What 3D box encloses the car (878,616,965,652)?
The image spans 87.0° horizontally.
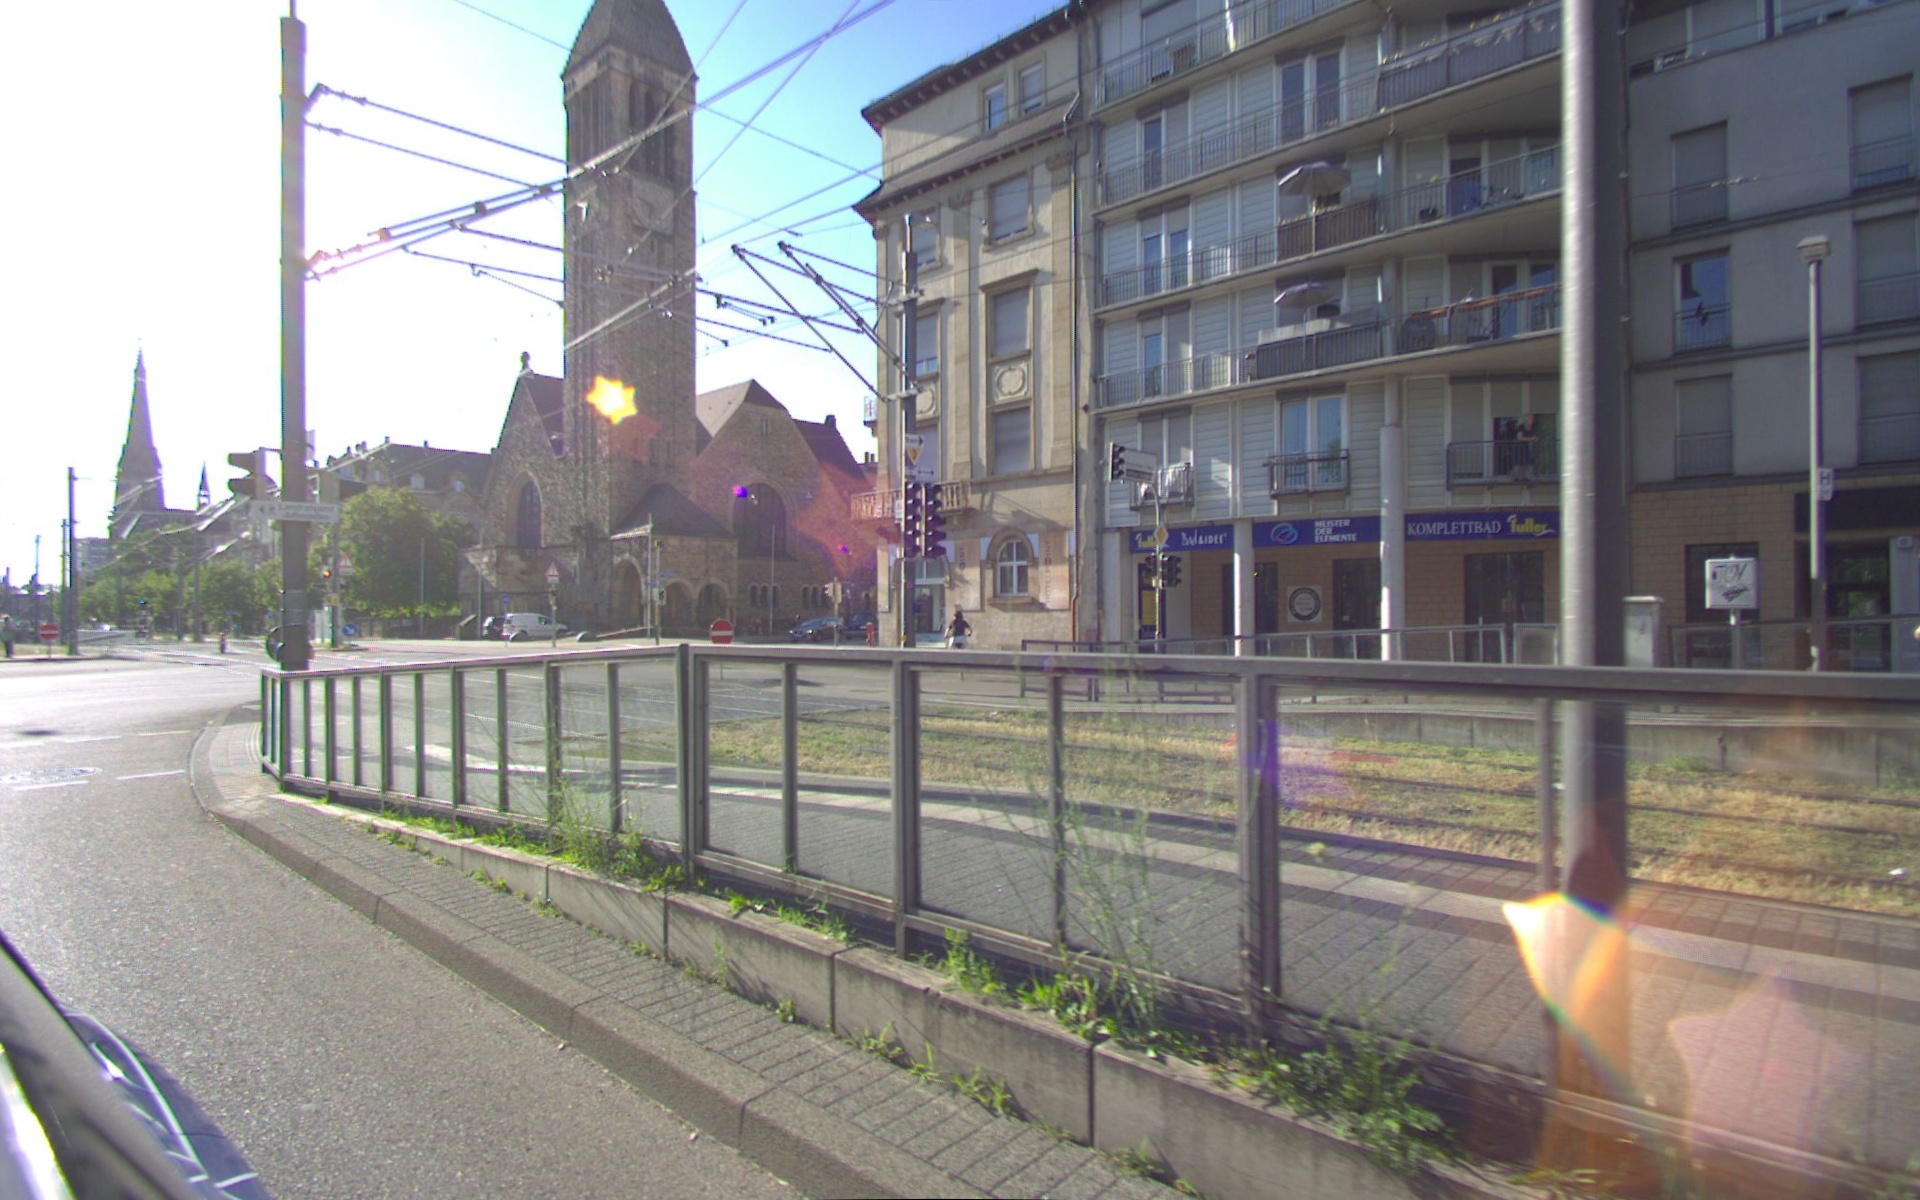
[{"bbox_3d":[-2.005,1.754,52.351,3.931,1.597,2.006,-2,-4,-21],"label":"car"}]

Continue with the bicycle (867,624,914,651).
[{"bbox_3d":[-3.228,1.745,46.977,2.108,1.199,0.526,-2,0,17],"label":"bicycle"}]

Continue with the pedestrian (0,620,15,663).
[{"bbox_3d":[-36.413,1.575,38.403,0.925,1.633,0.670,-1,0,41],"label":"pedestrian"}]

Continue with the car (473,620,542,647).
[{"bbox_3d":[-31.720,2.336,71.011,1.769,1.642,3.986,-1,1,43],"label":"car"}]

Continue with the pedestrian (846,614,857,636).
[{"bbox_3d":[-8.247,1.912,76.821,0.649,1.633,0.463,-1,0,31],"label":"pedestrian"}]

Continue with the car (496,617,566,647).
[{"bbox_3d":[-29.352,2.142,69.346,1.870,1.819,3.970,-1,1,43],"label":"car"}]

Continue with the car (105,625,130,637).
[{"bbox_3d":[-108.903,3.986,130.814,4.555,1.438,1.971,-1,-2,44],"label":"car"}]

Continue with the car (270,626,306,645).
[{"bbox_3d":[-59.080,3.124,88.996,4.215,1.541,1.762,-1,1,44],"label":"car"}]

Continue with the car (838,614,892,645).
[{"bbox_3d":[-6.471,2.011,69.417,1.984,1.882,4.461,-2,1,19],"label":"car"}]

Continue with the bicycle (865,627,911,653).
[{"bbox_3d":[-3.419,1.904,47.930,2.108,1.199,0.551,-2,0,17],"label":"bicycle"}]

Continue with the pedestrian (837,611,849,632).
[{"bbox_3d":[-8.915,1.639,77.193,0.650,1.633,0.463,-2,2,32],"label":"pedestrian"}]

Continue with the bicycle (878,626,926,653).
[{"bbox_3d":[-2.635,1.804,46.084,2.108,1.199,0.526,-2,0,17],"label":"bicycle"}]

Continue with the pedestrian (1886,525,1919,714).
[{"bbox_3d":[8.624,0.149,8.666,0.958,1.592,0.890,-1,0,41],"label":"pedestrian"}]

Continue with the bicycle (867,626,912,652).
[{"bbox_3d":[-3.398,1.883,48.826,2.108,1.199,0.526,-2,0,17],"label":"bicycle"}]

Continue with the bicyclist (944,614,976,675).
[{"bbox_3d":[0.004,1.057,23.813,0.529,1.383,1.014,-2,-5,13],"label":"bicyclist"}]

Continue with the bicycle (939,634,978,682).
[{"bbox_3d":[-0.020,1.373,23.675,0.529,1.062,1.817,-2,-5,12],"label":"bicycle"}]

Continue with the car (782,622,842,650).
[{"bbox_3d":[-8.922,2.152,61.346,1.828,1.430,4.259,-2,0,19],"label":"car"}]

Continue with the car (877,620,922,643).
[{"bbox_3d":[-4.467,2.307,75.068,1.828,1.514,4.314,-2,1,19],"label":"car"}]
